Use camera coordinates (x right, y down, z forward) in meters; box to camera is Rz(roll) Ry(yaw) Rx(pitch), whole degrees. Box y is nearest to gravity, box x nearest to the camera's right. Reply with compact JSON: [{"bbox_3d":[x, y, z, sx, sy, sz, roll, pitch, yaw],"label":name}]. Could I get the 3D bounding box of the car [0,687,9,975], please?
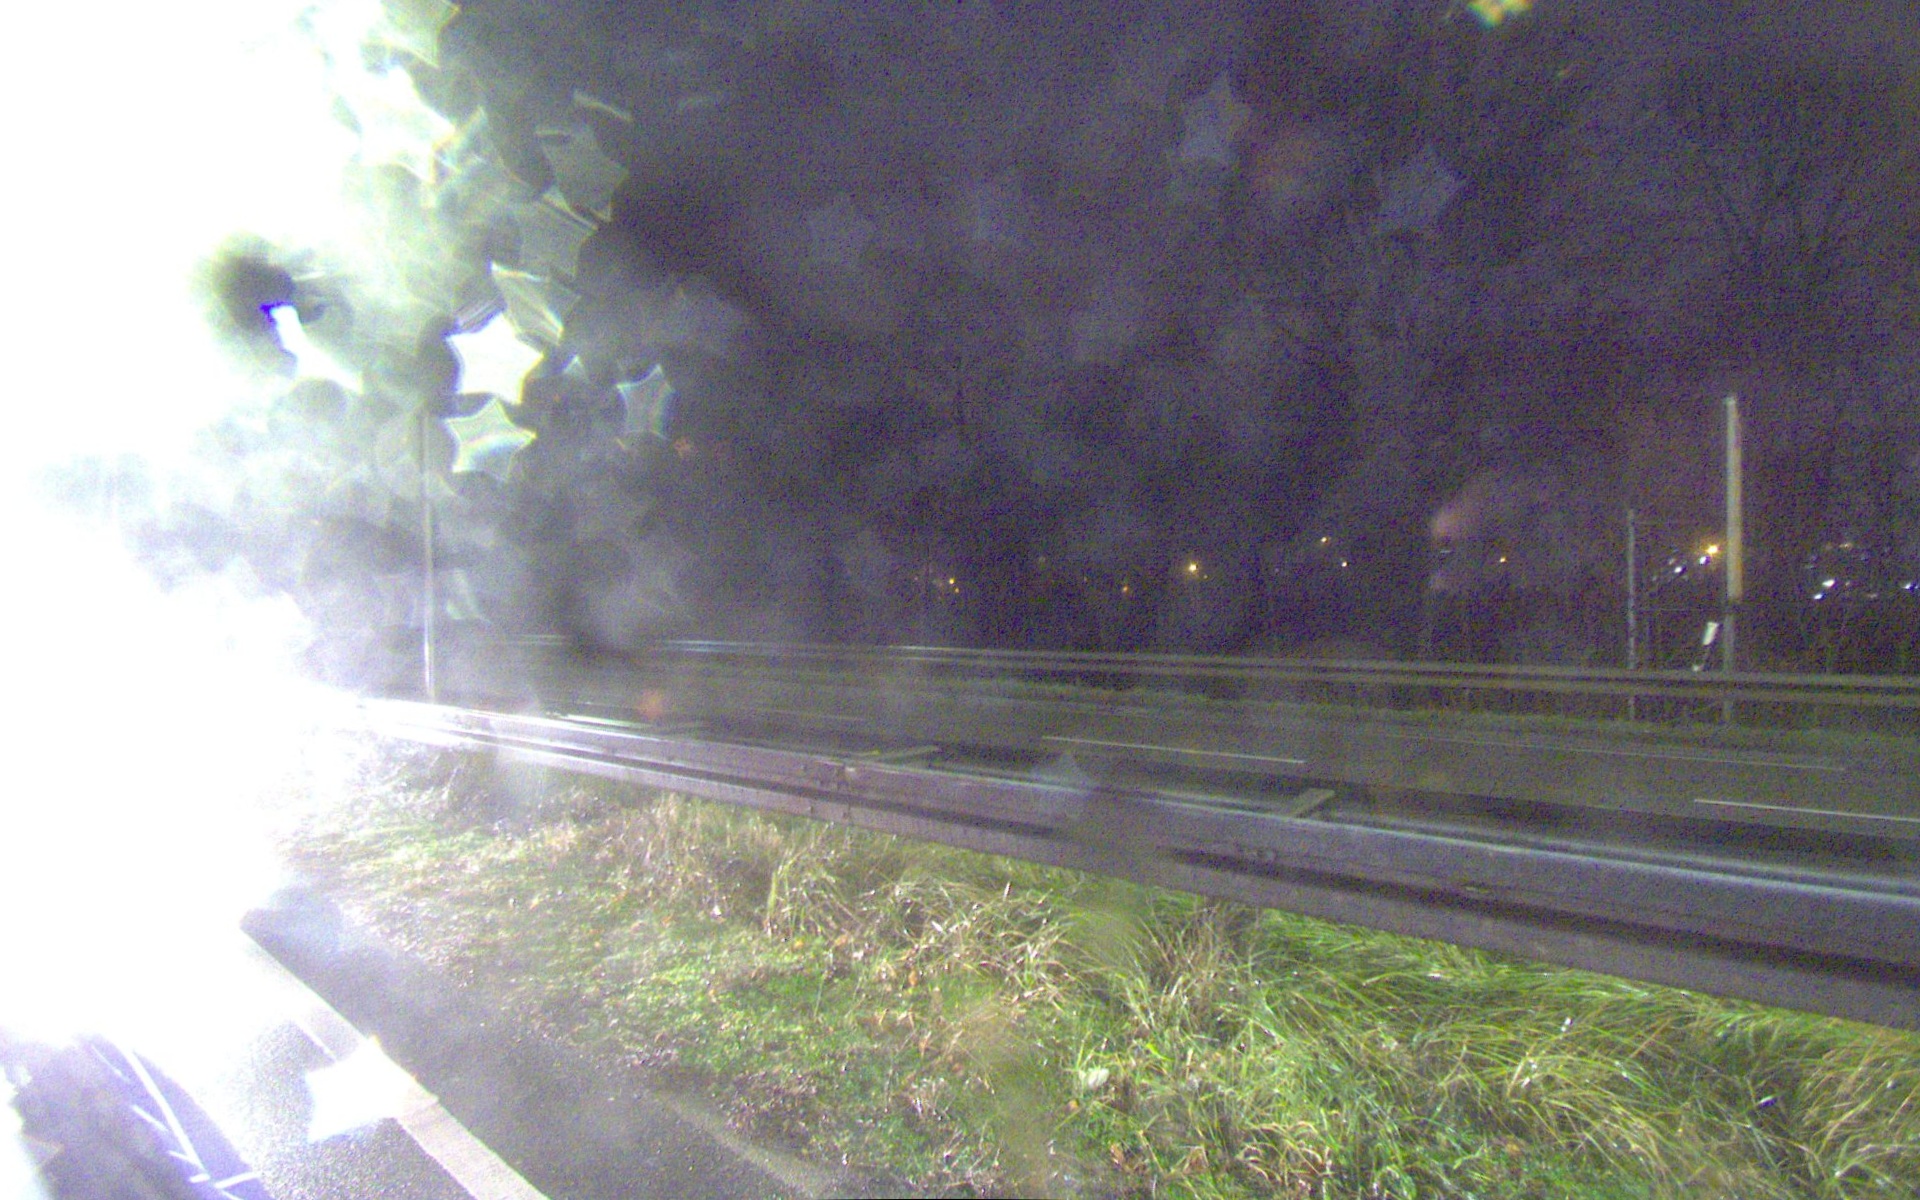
[{"bbox_3d":[-5.671,0.851,4.703,3.388,1.435,1.478,-1,1,41],"label":"car"}]
